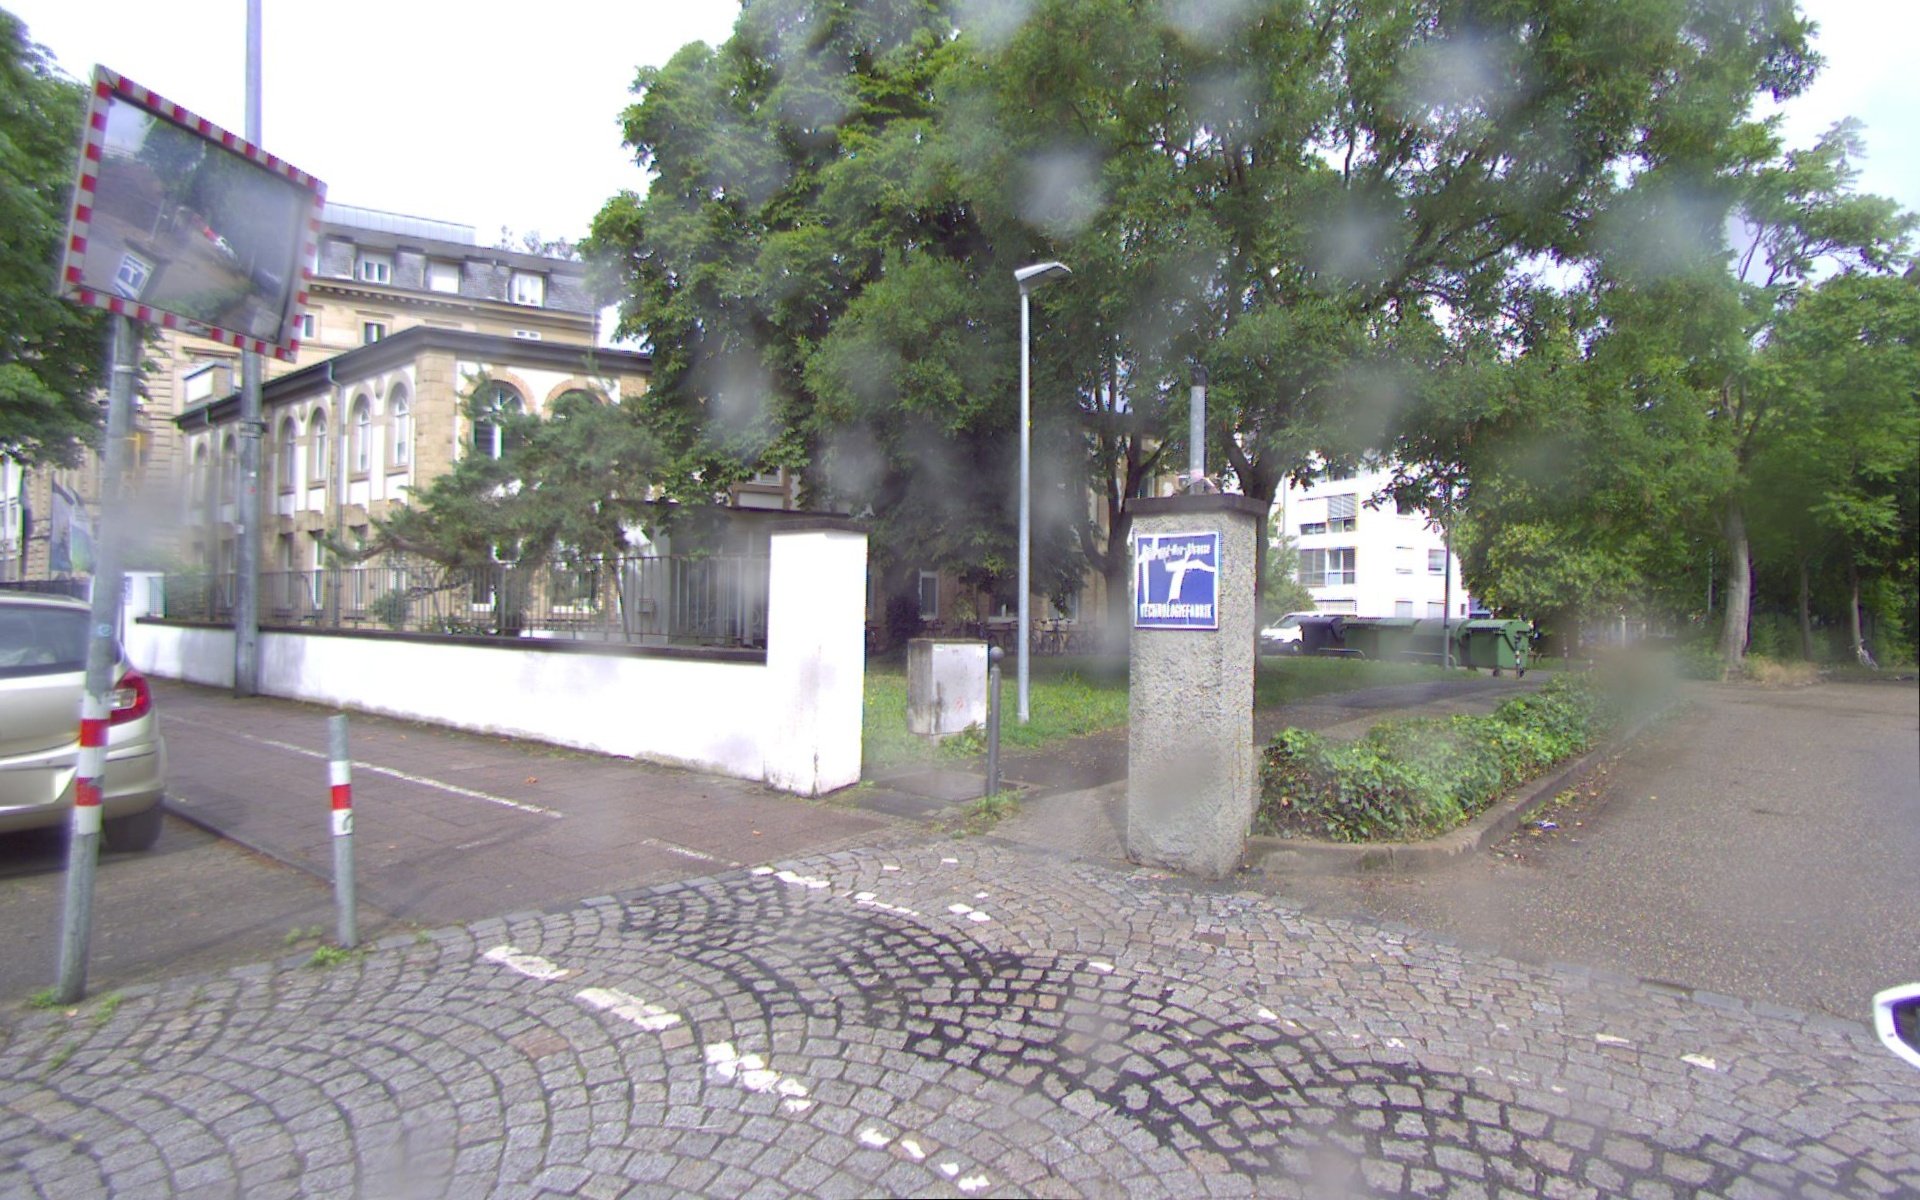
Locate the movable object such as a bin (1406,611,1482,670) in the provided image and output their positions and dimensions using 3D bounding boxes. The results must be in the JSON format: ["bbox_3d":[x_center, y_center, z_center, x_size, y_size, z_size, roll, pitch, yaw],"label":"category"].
[{"bbox_3d":[13.067,1.092,27.148,1.155,1.503,1.391,2,1,-30],"label":"movable object such as a bin"}]

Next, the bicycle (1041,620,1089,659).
[{"bbox_3d":[3.202,1.190,30.728,0.608,1.131,1.915,0,-1,-24],"label":"bicycle"}]

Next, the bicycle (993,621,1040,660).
[{"bbox_3d":[1.685,1.188,30.040,0.608,1.131,1.915,0,-1,-24],"label":"bicycle"}]

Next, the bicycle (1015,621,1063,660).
[{"bbox_3d":[2.370,1.195,30.267,0.608,1.131,1.915,0,-1,-24],"label":"bicycle"}]

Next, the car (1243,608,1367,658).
[{"bbox_3d":[14.745,1.420,42.931,4.819,1.951,2.089,2,-2,-22],"label":"car"}]

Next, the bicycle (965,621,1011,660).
[{"bbox_3d":[0.810,1.174,29.565,0.608,1.131,1.915,0,-1,-24],"label":"bicycle"}]

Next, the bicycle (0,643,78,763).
[{"bbox_3d":[-9.022,0.946,8.732,0.674,1.000,1.920,2,3,37],"label":"bicycle"}]

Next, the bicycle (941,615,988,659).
[{"bbox_3d":[0.110,1.050,29.187,0.608,1.193,1.915,1,0,-23],"label":"bicycle"}]

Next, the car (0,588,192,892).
[{"bbox_3d":[-6.195,0.678,6.016,3.773,1.479,1.683,0,1,39],"label":"car"}]

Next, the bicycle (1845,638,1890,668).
[{"bbox_3d":[28.422,1.651,31.447,1.435,0.872,0.474,0,1,-24],"label":"bicycle"}]

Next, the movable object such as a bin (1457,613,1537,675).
[{"bbox_3d":[13.762,1.113,25.788,1.086,1.492,1.481,2,-1,-14],"label":"movable object such as a bin"}]

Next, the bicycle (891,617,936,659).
[{"bbox_3d":[-1.330,1.051,28.355,0.608,1.131,1.915,0,-1,-24],"label":"bicycle"}]

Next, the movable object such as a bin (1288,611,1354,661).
[{"bbox_3d":[11.217,1.100,31.247,1.154,1.503,1.582,0,-1,-29],"label":"movable object such as a bin"}]

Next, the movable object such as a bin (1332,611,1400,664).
[{"bbox_3d":[12.060,1.093,29.866,1.154,1.503,1.486,0,-1,-29],"label":"movable object such as a bin"}]

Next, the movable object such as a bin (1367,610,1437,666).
[{"bbox_3d":[12.509,1.065,28.450,1.154,1.503,1.392,2,0,-28],"label":"movable object such as a bin"}]

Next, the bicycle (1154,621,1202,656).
[{"bbox_3d":[7.081,1.236,32.685,0.608,1.131,1.778,0,-1,-24],"label":"bicycle"}]

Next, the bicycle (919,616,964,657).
[{"bbox_3d":[-0.543,1.040,28.958,0.608,1.131,1.915,0,-1,-24],"label":"bicycle"}]

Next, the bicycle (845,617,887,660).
[{"bbox_3d":[-2.617,1.045,27.750,0.608,1.131,1.915,0,-1,-24],"label":"bicycle"}]

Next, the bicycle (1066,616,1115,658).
[{"bbox_3d":[4.036,1.126,31.106,0.608,1.241,1.915,0,-1,-24],"label":"bicycle"}]

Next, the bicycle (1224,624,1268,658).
[{"bbox_3d":[9.591,1.358,33.761,0.608,1.131,1.511,0,-1,-24],"label":"bicycle"}]

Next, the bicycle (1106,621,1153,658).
[{"bbox_3d":[5.345,1.222,31.743,0.608,1.131,1.778,0,-1,-24],"label":"bicycle"}]
